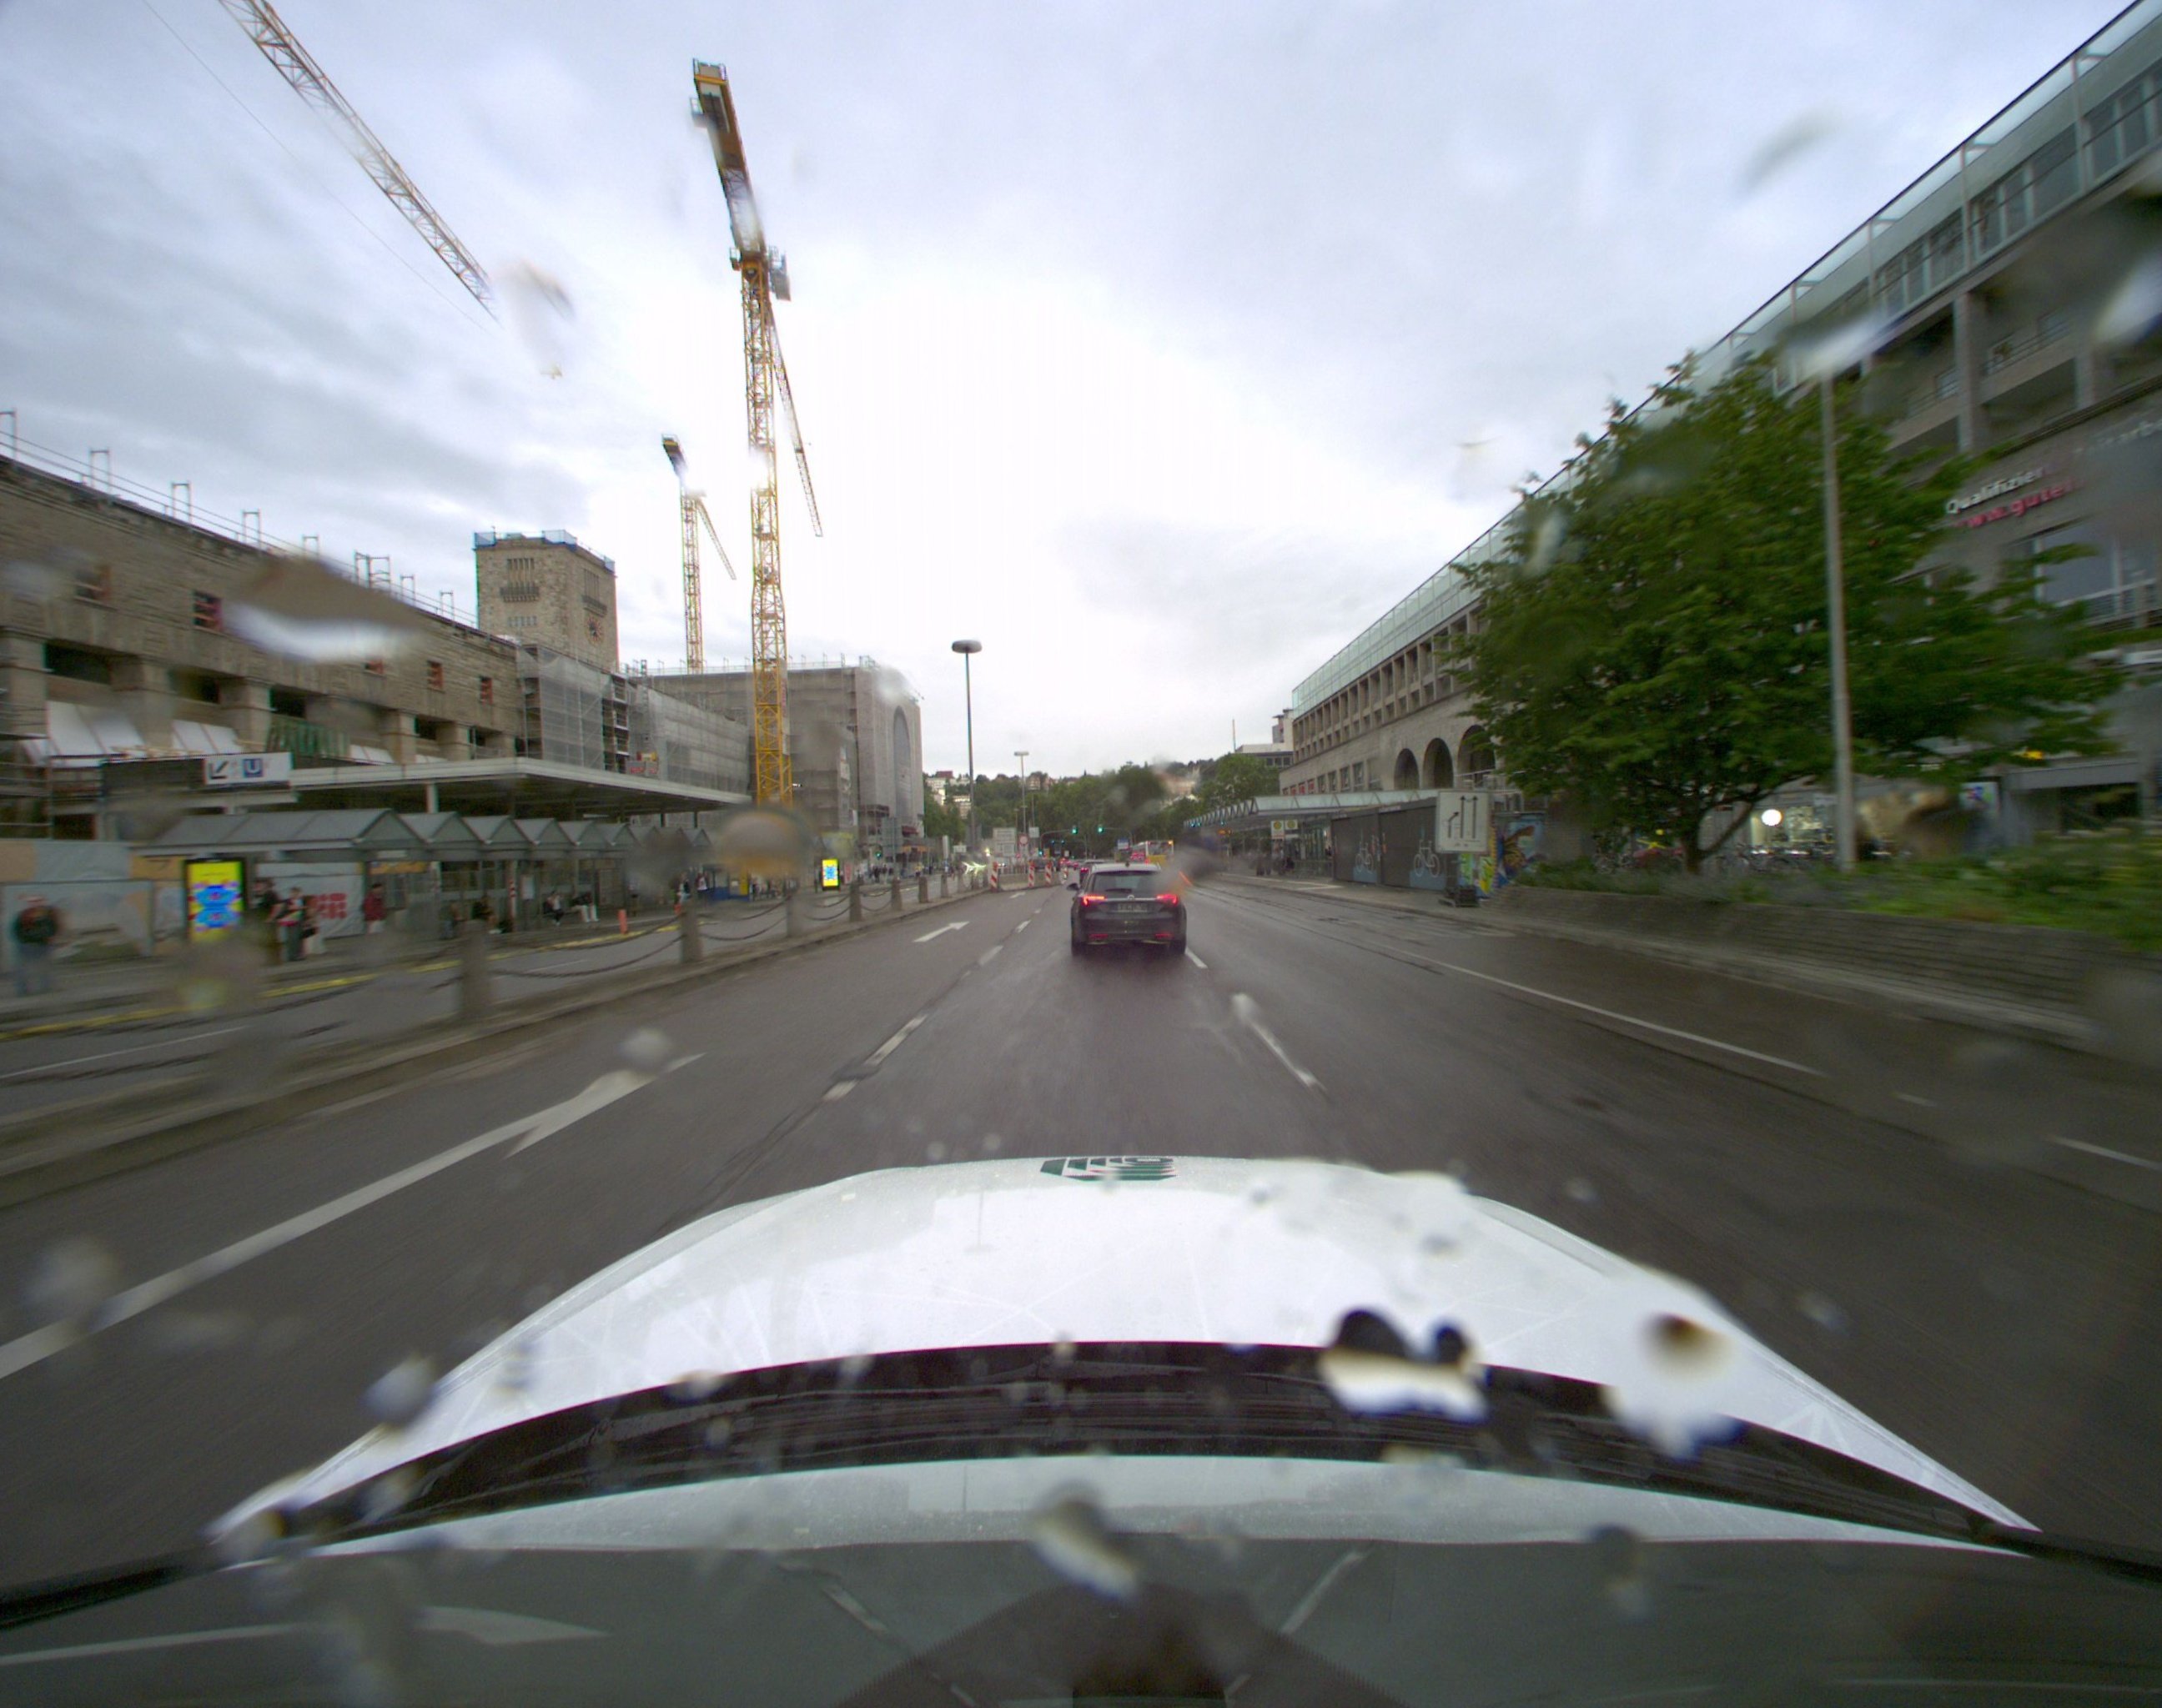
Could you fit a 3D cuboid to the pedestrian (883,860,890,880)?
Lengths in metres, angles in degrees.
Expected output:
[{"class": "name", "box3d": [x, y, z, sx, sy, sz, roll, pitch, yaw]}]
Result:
[{"class": "pedestrian", "box3d": [-18.410, 1.542, 77.071, 0.507, 1.841, 0.703, -2, 0, -6]}]

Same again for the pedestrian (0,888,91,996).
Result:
[{"class": "pedestrian", "box3d": [-18.193, 1.523, 14.275, 0.694, 1.790, 0.797, -2, 0, 12]}]

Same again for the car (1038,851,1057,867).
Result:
[{"class": "car", "box3d": [-3.615, 0.561, 88.807, 1.988, 1.654, 4.638, -3, 0, -2]}]

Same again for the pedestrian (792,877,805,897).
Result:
[{"class": "pedestrian", "box3d": [-22.673, 2.643, 65.320, 0.801, 1.547, 0.700, -2, 0, -6]}]

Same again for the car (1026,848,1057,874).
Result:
[{"class": "car", "box3d": [-3.007, 0.509, 63.319, 1.986, 1.862, 4.833, -3, 0, 1]}]

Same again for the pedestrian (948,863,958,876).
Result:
[{"class": "pedestrian", "box3d": [-19.804, 2.399, 126.052, 0.975, 1.841, 1.046, -3, 0, 20]}]

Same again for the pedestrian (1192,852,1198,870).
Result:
[{"class": "pedestrian", "box3d": [11.854, 0.710, 84.542, 0.563, 1.836, 0.570, -2, 0, 3]}]

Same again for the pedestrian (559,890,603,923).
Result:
[{"class": "pedestrian", "box3d": [-18.932, 1.986, 30.856, 0.946, 1.158, 1.055, -2, 0, 0]}]

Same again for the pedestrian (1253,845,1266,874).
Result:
[{"class": "pedestrian", "box3d": [11.826, 0.363, 54.042, 0.673, 1.836, 0.574, -2, 0, 2]}]

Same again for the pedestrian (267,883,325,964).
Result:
[{"class": "pedestrian", "box3d": [-18.183, 1.578, 18.873, 0.555, 1.790, 0.803, -2, 0, -8]}]

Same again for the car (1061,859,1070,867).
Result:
[{"class": "car", "box3d": [-3.344, 1.867, 174.070, 1.700, 1.665, 3.706, -1, -1, 1]}]

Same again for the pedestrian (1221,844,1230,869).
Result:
[{"class": "pedestrian", "box3d": [12.912, 0.185, 72.817, 0.588, 2.215, 0.587, -2, 0, 2]}]

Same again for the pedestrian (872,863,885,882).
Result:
[{"class": "pedestrian", "box3d": [-19.438, 1.781, 78.114, 0.695, 1.841, 0.883, -2, 0, 28]}]

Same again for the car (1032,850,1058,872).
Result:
[{"class": "car", "box3d": [-3.008, 0.555, 68.913, 1.988, 1.706, 4.829, -3, 0, -2]}]

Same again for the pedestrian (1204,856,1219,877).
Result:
[{"class": "pedestrian", "box3d": [10.802, 1.054, 67.464, 0.762, 1.690, 0.992, -2, 0, -21]}]

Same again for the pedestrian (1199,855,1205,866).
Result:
[{"class": "pedestrian", "box3d": [13.389, 0.752, 90.259, 0.512, 1.232, 0.771, -3, 0, 2]}]

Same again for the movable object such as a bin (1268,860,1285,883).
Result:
[{"class": "movable object such as a bin", "box3d": [14.433, 1.299, 60.216, 0.665, 1.652, 1.040, -2, 0, -23]}]

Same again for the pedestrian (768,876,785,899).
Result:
[{"class": "pedestrian", "box3d": [-18.393, 2.012, 49.203, 0.697, 1.326, 0.805, -2, 0, -2]}]

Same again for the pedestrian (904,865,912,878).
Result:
[{"class": "pedestrian", "box3d": [-22.147, 2.185, 104.261, 0.674, 1.613, 0.839, -2, 0, 2]}]

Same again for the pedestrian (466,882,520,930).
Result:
[{"class": "pedestrian", "box3d": [-18.819, 1.661, 26.083, 1.052, 1.432, 0.830, -2, 0, -2]}]

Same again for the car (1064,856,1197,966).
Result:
[{"class": "car", "box3d": [0.775, 0.822, 14.124, 1.871, 1.508, 4.853, -2, 0, 1]}]

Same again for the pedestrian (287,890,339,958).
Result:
[{"class": "pedestrian", "box3d": [-19.571, 1.773, 20.768, 0.555, 1.630, 0.803, -2, 0, -8]}]

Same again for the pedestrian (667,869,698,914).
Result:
[{"class": "pedestrian", "box3d": [-16.335, 1.531, 33.391, 0.771, 1.790, 0.862, -2, 0, 7]}]

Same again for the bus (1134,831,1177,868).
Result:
[{"class": "bus", "box3d": [6.937, -0.351, 77.003, 3.131, 3.247, 9.133, -1, -1, 0]}]

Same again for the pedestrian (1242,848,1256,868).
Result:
[{"class": "pedestrian", "box3d": [15.215, 0.344, 73.726, 0.791, 1.804, 0.983, -2, -1, -29]}]

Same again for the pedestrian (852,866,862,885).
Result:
[{"class": "pedestrian", "box3d": [-22.418, 2.180, 81.624, 0.718, 1.841, 0.612, -2, 0, 3]}]

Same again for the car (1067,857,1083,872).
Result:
[{"class": "car", "box3d": [-0.858, 1.504, 113.330, 1.980, 2.014, 4.363, -1, -1, -4]}]

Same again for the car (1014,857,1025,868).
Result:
[{"class": "car", "box3d": [-11.811, 1.694, 156.143, 1.991, 2.014, 5.359, -1, -1, -6]}]

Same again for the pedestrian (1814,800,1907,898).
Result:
[{"class": "pedestrian", "box3d": [14.542, -0.090, 15.221, 0.638, 1.751, 1.076, -2, 0, -1]}]

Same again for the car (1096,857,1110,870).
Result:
[{"class": "car", "box3d": [2.871, 1.231, 107.083, 1.669, 1.581, 3.238, -1, -1, -1]}]

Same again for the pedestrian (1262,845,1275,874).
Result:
[{"class": "pedestrian", "box3d": [12.168, 0.358, 52.860, 0.625, 1.836, 0.642, -2, 0, 2]}]

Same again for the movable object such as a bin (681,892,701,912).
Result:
[{"class": "movable object such as a bin", "box3d": [-17.099, 2.108, 35.734, 0.505, 0.789, 0.638, -4, -1, 45]}]

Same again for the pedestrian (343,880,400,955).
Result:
[{"class": "pedestrian", "box3d": [-17.846, 1.585, 20.502, 0.723, 1.790, 0.746, -2, 0, -6]}]

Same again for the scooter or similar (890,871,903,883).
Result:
[{"class": "scooter or similar", "box3d": [-18.110, 2.231, 79.877, 0.454, 1.066, 1.248, -2, 0, 34]}]

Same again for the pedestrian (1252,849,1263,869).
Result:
[{"class": "pedestrian", "box3d": [15.213, 0.465, 70.386, 0.745, 1.695, 0.902, -2, 0, 3]}]

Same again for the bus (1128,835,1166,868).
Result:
[{"class": "bus", "box3d": [6.894, -0.242, 86.169, 3.104, 3.205, 9.238, -1, -1, -1]}]

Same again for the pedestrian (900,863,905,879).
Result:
[{"class": "pedestrian", "box3d": [-20.874, 2.010, 95.224, 0.571, 1.841, 0.701, -2, 0, -14]}]

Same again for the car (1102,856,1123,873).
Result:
[{"class": "car", "box3d": [3.317, 1.132, 87.070, 1.847, 1.717, 3.996, -1, -1, -3]}]

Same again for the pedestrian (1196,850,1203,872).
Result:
[{"class": "pedestrian", "box3d": [9.693, 0.574, 66.794, 0.343, 1.836, 0.536, -2, 0, 27]}]

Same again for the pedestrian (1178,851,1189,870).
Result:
[{"class": "pedestrian", "box3d": [10.382, 0.667, 82.406, 0.977, 1.836, 0.839, -2, 0, 15]}]

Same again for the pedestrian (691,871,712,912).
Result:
[{"class": "pedestrian", "box3d": [-17.041, 1.681, 36.545, 0.785, 1.790, 0.666, -2, 0, -28]}]

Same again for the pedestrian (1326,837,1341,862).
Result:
[{"class": "pedestrian", "box3d": [19.384, -0.332, 62.475, 0.764, 1.831, 0.746, -2, 0, -29]}]

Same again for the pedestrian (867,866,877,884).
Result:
[{"class": "pedestrian", "box3d": [-22.042, 2.217, 85.867, 0.799, 1.841, 0.869, -2, 0, 3]}]

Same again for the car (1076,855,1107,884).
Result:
[{"class": "car", "box3d": [0.653, 0.937, 50.885, 1.824, 1.686, 4.134, -2, 0, 1]}]

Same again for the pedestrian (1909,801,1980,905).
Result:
[{"class": "pedestrian", "box3d": [14.929, -0.015, 14.086, 0.565, 1.751, 0.567, -2, 0, -2]}]

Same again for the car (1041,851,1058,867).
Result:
[{"class": "car", "box3d": [-3.842, 0.609, 100.312, 1.989, 1.787, 4.450, -3, 0, -2]}]

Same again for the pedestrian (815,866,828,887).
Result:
[{"class": "pedestrian", "box3d": [-22.610, 1.962, 70.972, 0.854, 1.841, 1.045, 0, 0, 0]}]

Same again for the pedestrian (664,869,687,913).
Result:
[{"class": "pedestrian", "box3d": [-17.520, 1.584, 35.200, 0.682, 1.848, 0.550, -2, -1, -45]}]

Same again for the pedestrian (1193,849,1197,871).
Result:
[{"class": "pedestrian", "box3d": [9.407, 0.486, 67.078, 0.242, 1.836, 0.512, -2, 0, 3]}]

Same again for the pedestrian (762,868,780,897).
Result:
[{"class": "pedestrian", "box3d": [-19.937, 1.833, 52.419, 0.738, 1.841, 0.705, -2, 0, 20]}]

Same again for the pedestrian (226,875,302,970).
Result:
[{"class": "pedestrian", "box3d": [-17.557, 1.448, 17.527, 0.757, 1.959, 0.822, -2, -1, -3]}]

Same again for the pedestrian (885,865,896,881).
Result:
[{"class": "pedestrian", "box3d": [-21.513, 2.135, 91.947, 0.835, 1.841, 1.059, -2, 0, 3]}]

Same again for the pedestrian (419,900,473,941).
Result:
[{"class": "pedestrian", "box3d": [-18.746, 1.951, 24.066, 0.841, 1.093, 0.925, -2, 0, -1]}]

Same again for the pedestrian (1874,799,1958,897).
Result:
[{"class": "pedestrian", "box3d": [15.485, -0.102, 15.117, 0.611, 1.751, 0.868, -2, 0, -1]}]

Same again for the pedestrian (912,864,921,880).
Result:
[{"class": "pedestrian", "box3d": [-19.124, 2.050, 94.672, 0.876, 1.841, 0.834, -2, 0, -14]}]

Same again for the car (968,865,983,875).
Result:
[{"class": "car", "box3d": [-17.494, 2.626, 135.331, 1.987, 1.468, 3.999, -1, -1, 0]}]

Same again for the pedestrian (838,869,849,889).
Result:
[{"class": "pedestrian", "box3d": [-22.557, 2.404, 77.373, 0.739, 1.841, 0.657, -2, 0, 3]}]
